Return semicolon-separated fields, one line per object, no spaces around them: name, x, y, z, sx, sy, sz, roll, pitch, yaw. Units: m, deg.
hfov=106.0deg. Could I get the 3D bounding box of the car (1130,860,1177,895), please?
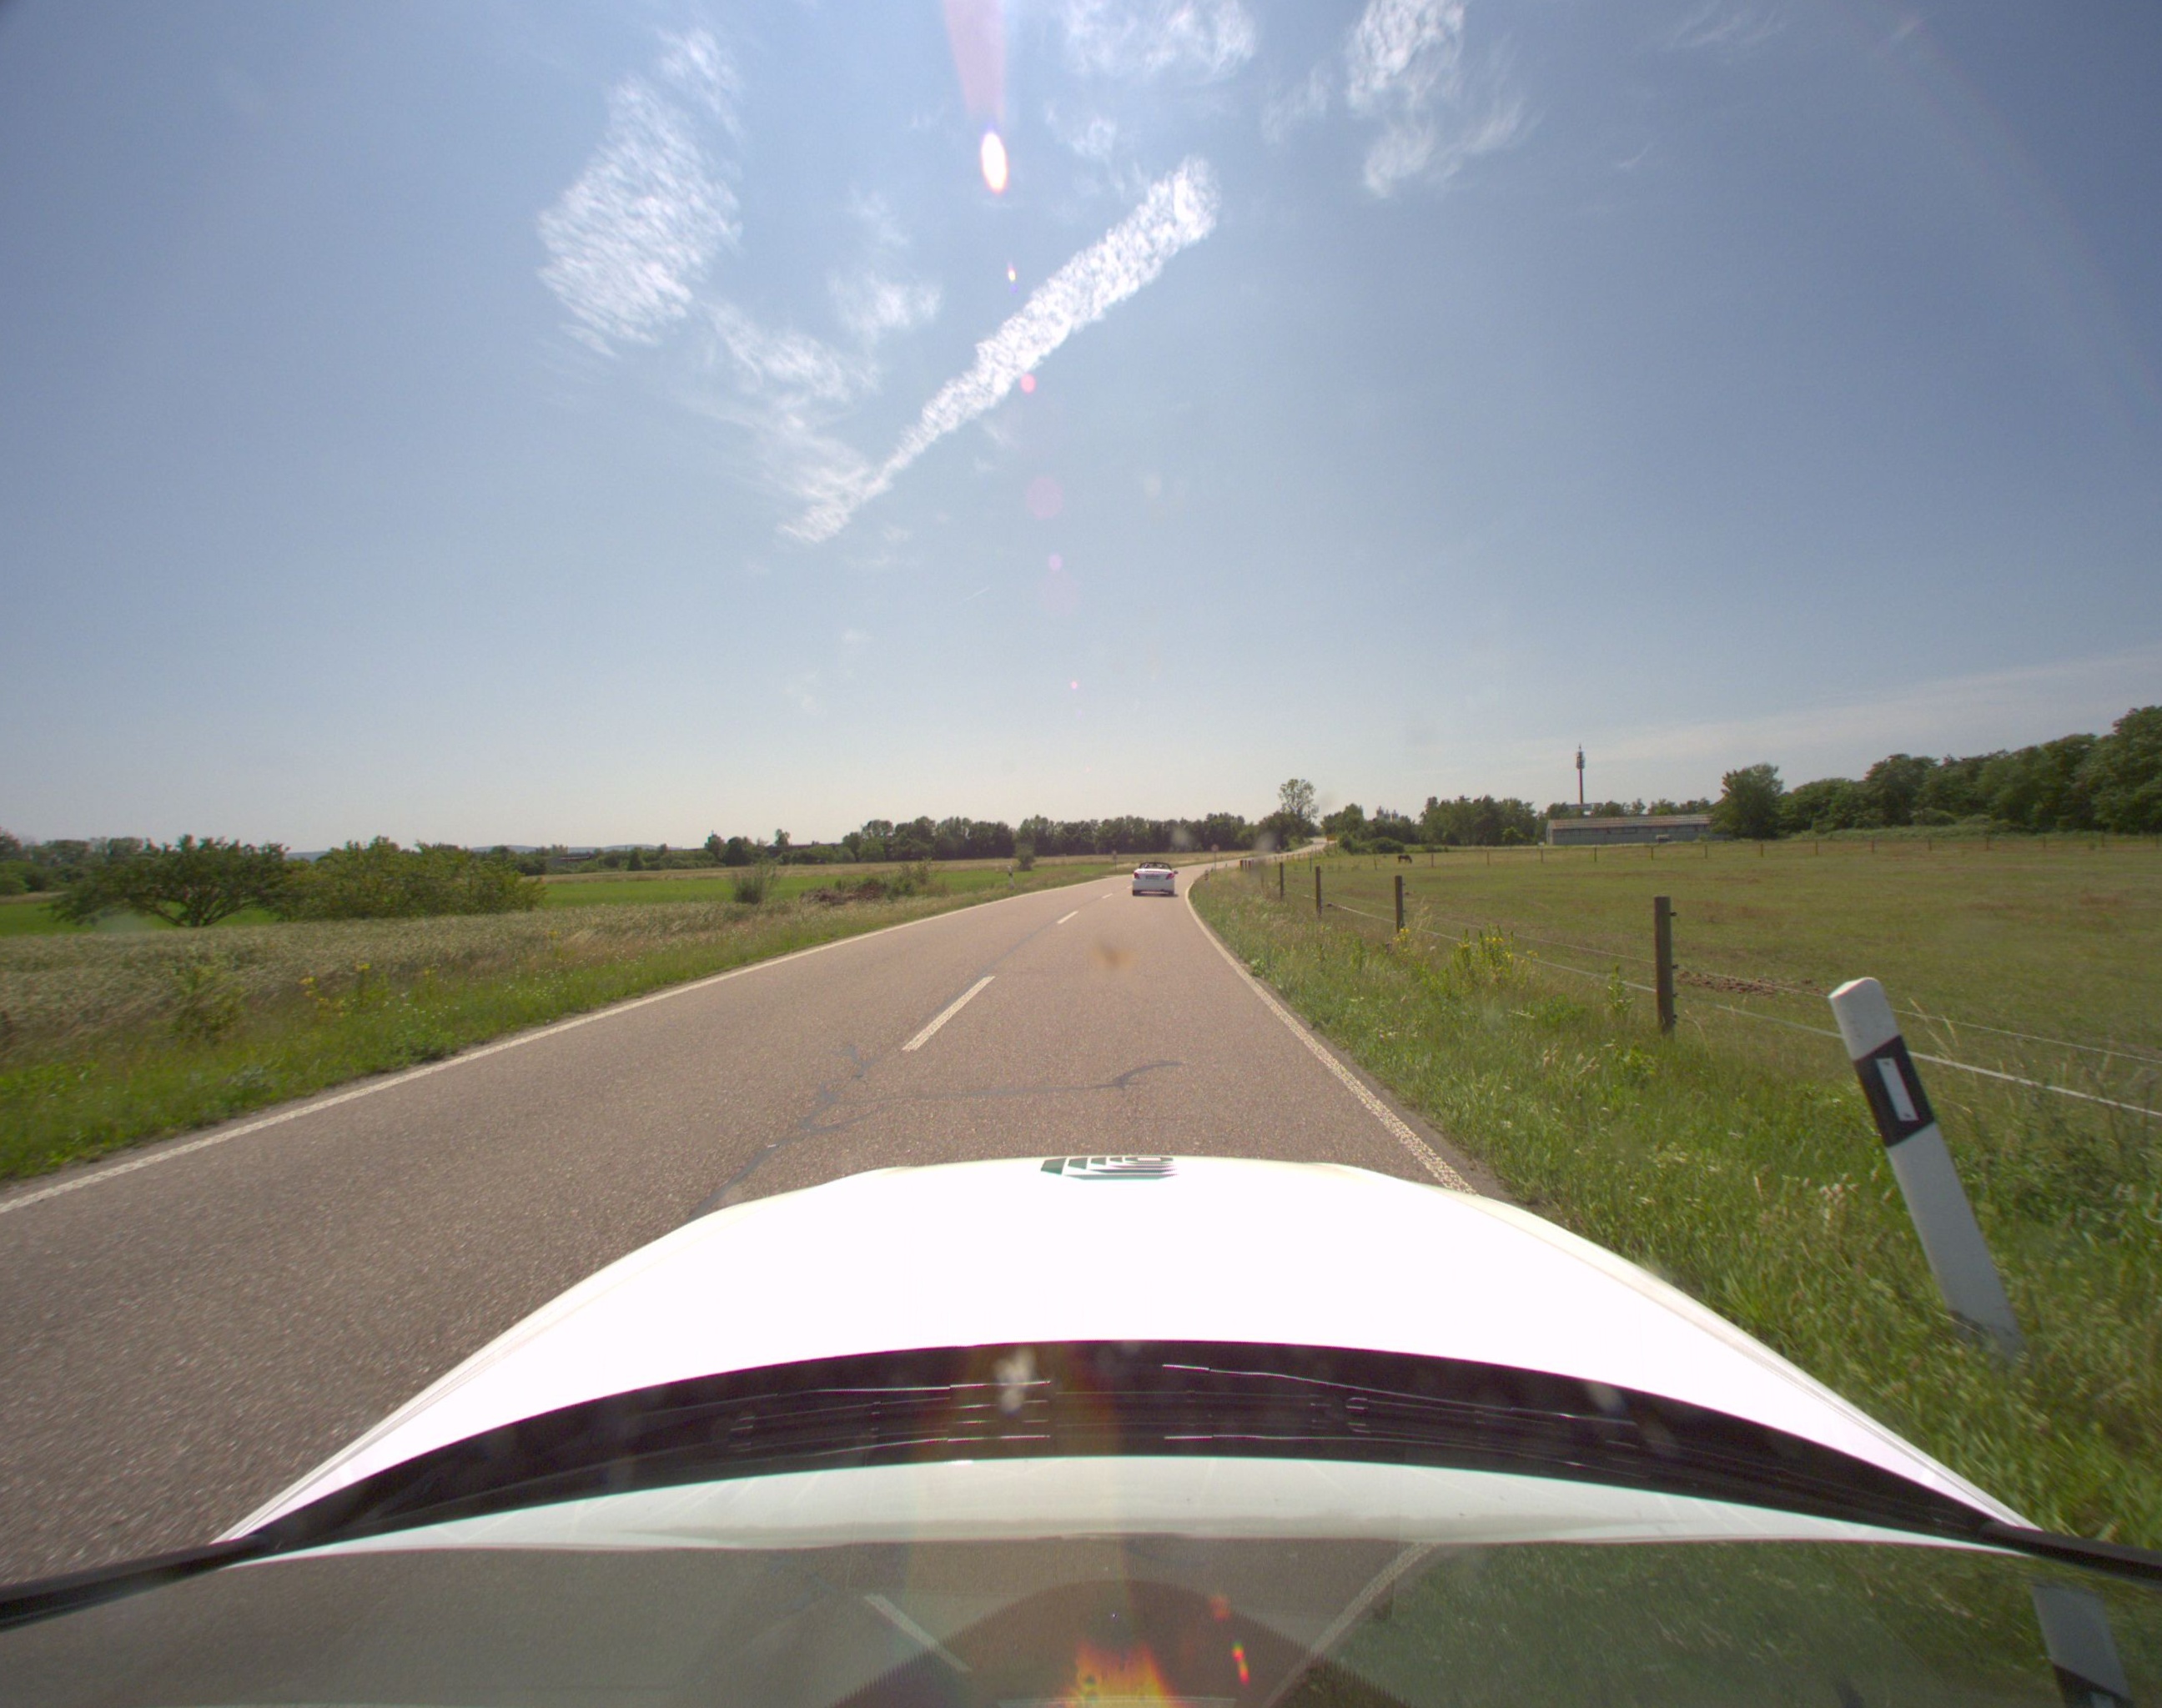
car;3.090;0.957;34.318;1.841;1.379;4.006;1;-1;6
